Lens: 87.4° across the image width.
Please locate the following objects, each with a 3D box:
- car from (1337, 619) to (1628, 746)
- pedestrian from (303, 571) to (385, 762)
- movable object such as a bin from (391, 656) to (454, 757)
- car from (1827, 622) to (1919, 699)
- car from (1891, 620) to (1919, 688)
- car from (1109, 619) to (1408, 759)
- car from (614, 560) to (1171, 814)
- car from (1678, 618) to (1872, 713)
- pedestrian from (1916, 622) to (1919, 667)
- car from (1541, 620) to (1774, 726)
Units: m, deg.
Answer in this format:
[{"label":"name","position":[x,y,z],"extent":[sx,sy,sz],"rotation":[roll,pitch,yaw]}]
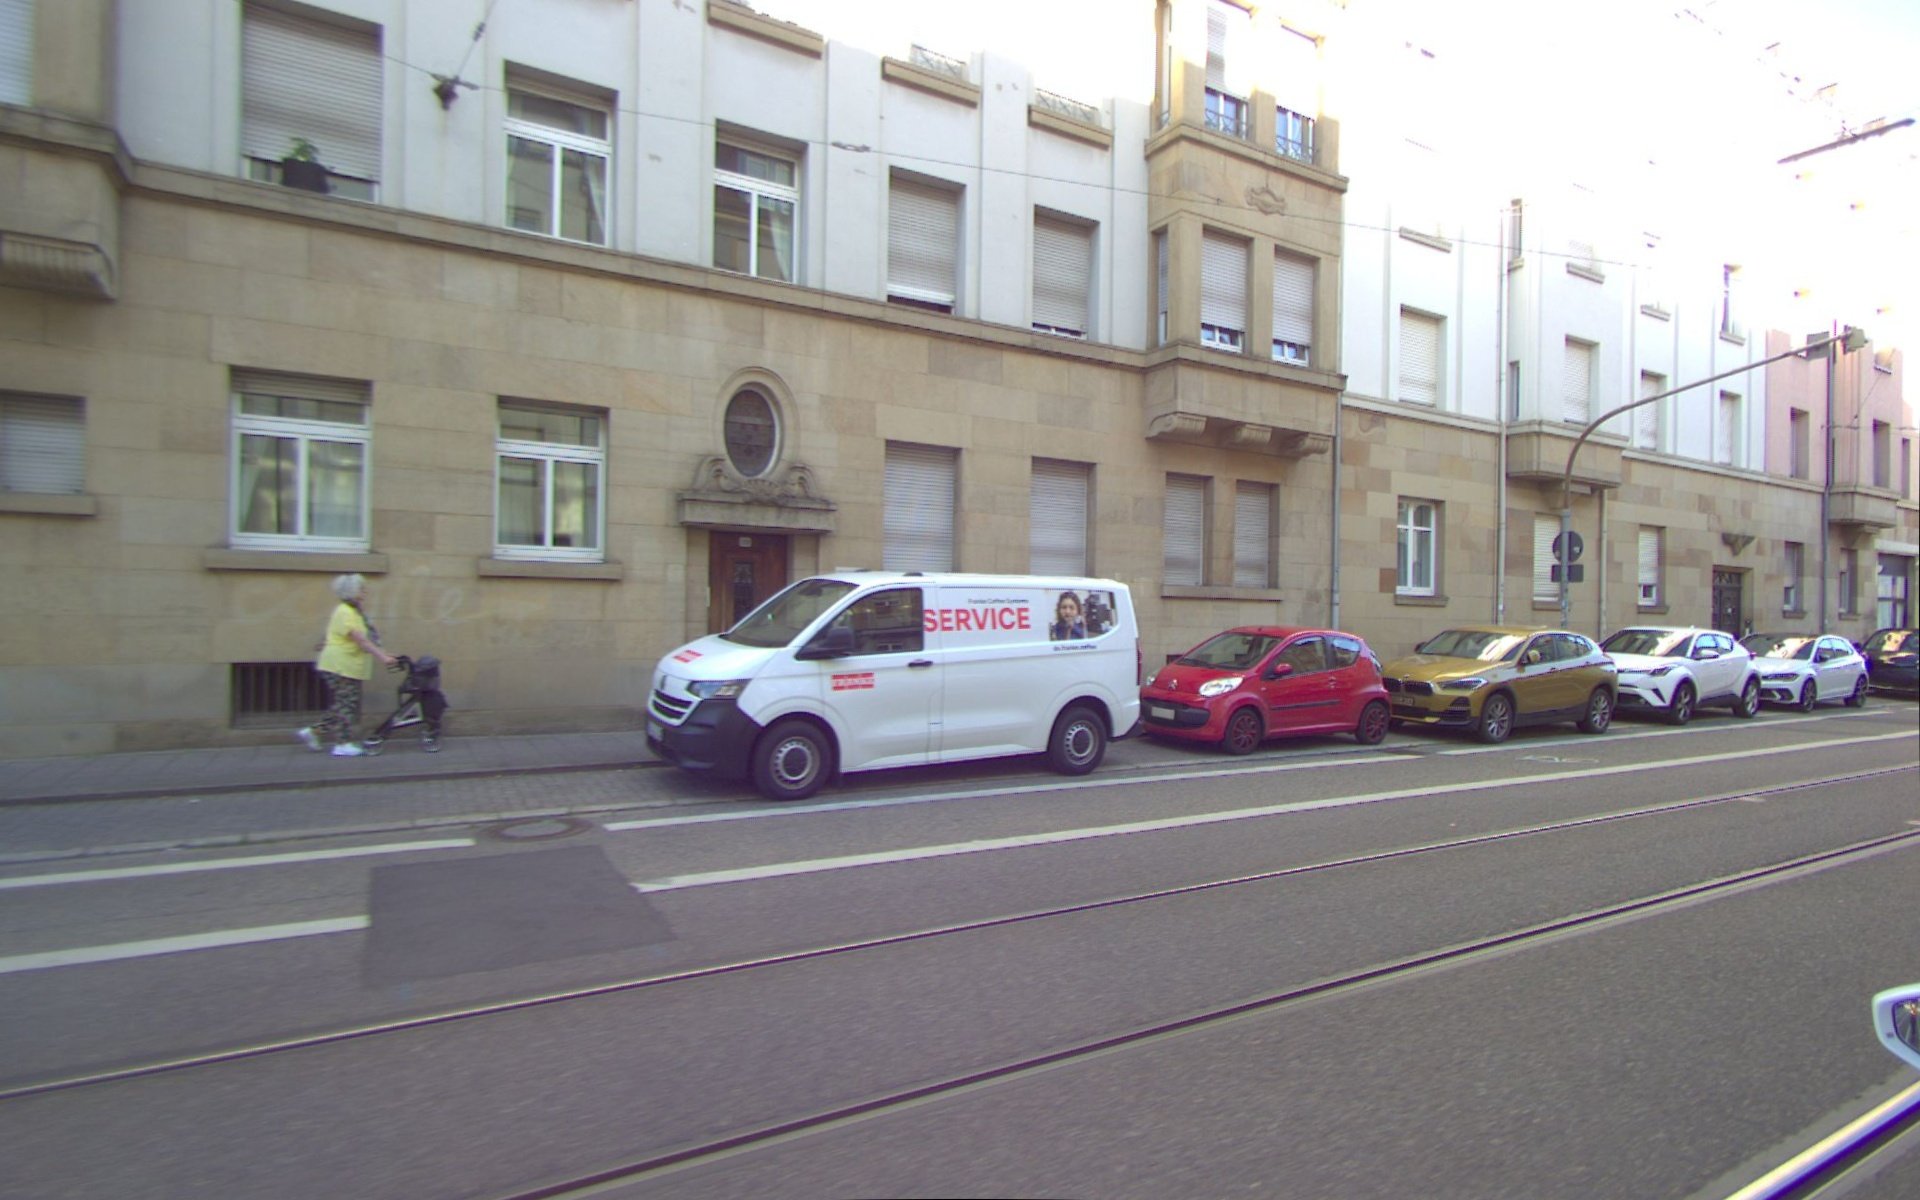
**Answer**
[{"label":"car","position":[7.686,1.112,14.678],"extent":[4.310,1.544,1.774],"rotation":[1,1,-31]},{"label":"pedestrian","position":[-5.882,0.611,9.620],"extent":[0.609,1.747,0.676],"rotation":[1,0,-30]},{"label":"movable object such as a bin","position":[-5.265,1.023,9.835],"extent":[0.512,0.912,0.610],"rotation":[1,0,-30]},{"label":"car","position":[21.612,1.354,22.978],"extent":[2.984,1.573,1.774],"rotation":[1,1,-30]},{"label":"car","position":[25.450,1.387,25.364],"extent":[4.349,1.628,1.773],"rotation":[1,1,-32]},{"label":"car","position":[3.837,1.041,12.795],"extent":[3.603,1.492,1.595],"rotation":[1,1,-30]},{"label":"car","position":[-0.537,0.699,9.998],"extent":[5.192,1.975,1.962],"rotation":[1,1,-31]},{"label":"car","position":[16.424,1.250,20.212],"extent":[4.133,1.643,1.773],"rotation":[1,1,-32]},{"label":"pedestrian","position":[37.494,1.726,38.832],"extent":[0.723,1.735,0.604],"rotation":[1,-1,-30]},{"label":"car","position":[12.195,1.192,17.494],"extent":[4.318,1.568,1.762],"rotation":[1,1,-32]}]
